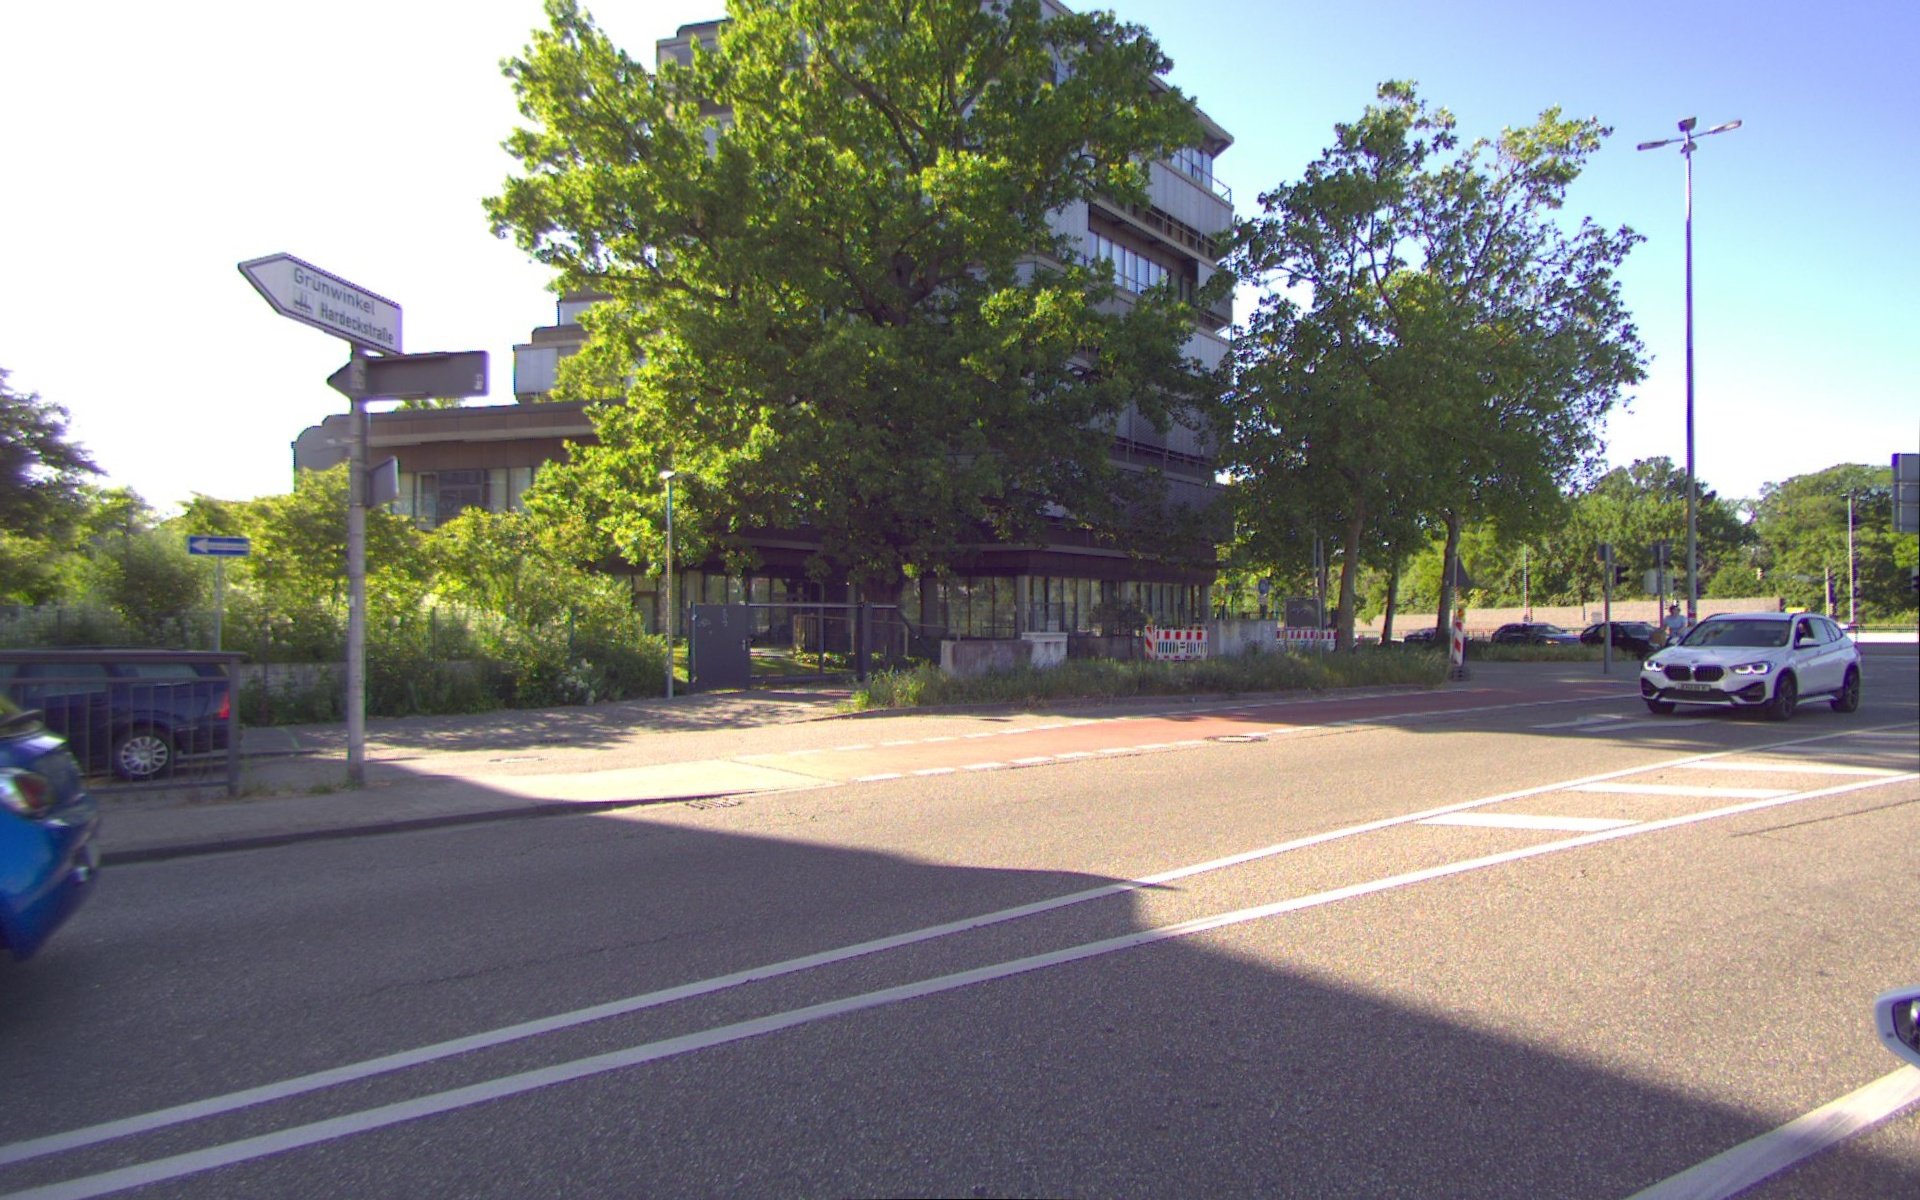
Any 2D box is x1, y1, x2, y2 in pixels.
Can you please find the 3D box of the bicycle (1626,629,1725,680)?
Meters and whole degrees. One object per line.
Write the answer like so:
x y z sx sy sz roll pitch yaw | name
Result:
17.520 1.316 24.594 2.288 1.218 0.687 0 -1 -16 | bicycle

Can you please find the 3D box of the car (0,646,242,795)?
-10.778 1.318 11.237 4.411 1.523 1.806 1 -2 -38 | car

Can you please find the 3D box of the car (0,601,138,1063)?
-5.242 0.767 2.854 4.411 1.523 1.806 1 -2 -38 | car

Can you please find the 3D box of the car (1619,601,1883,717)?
12.983 0.953 16.433 4.574 1.675 1.825 2 -3 -30 | car

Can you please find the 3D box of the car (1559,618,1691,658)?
25.563 1.454 38.802 1.792 1.457 4.446 0 -2 -7 | car

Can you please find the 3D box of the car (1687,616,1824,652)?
34.236 1.446 43.397 1.795 1.457 4.438 0 -2 -15 | car

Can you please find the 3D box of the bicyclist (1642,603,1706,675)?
17.477 0.951 24.590 1.178 1.724 0.687 0 -1 -16 | bicyclist

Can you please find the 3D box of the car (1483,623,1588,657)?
25.854 1.778 45.284 1.792 1.457 4.446 0 -2 -7 | car
